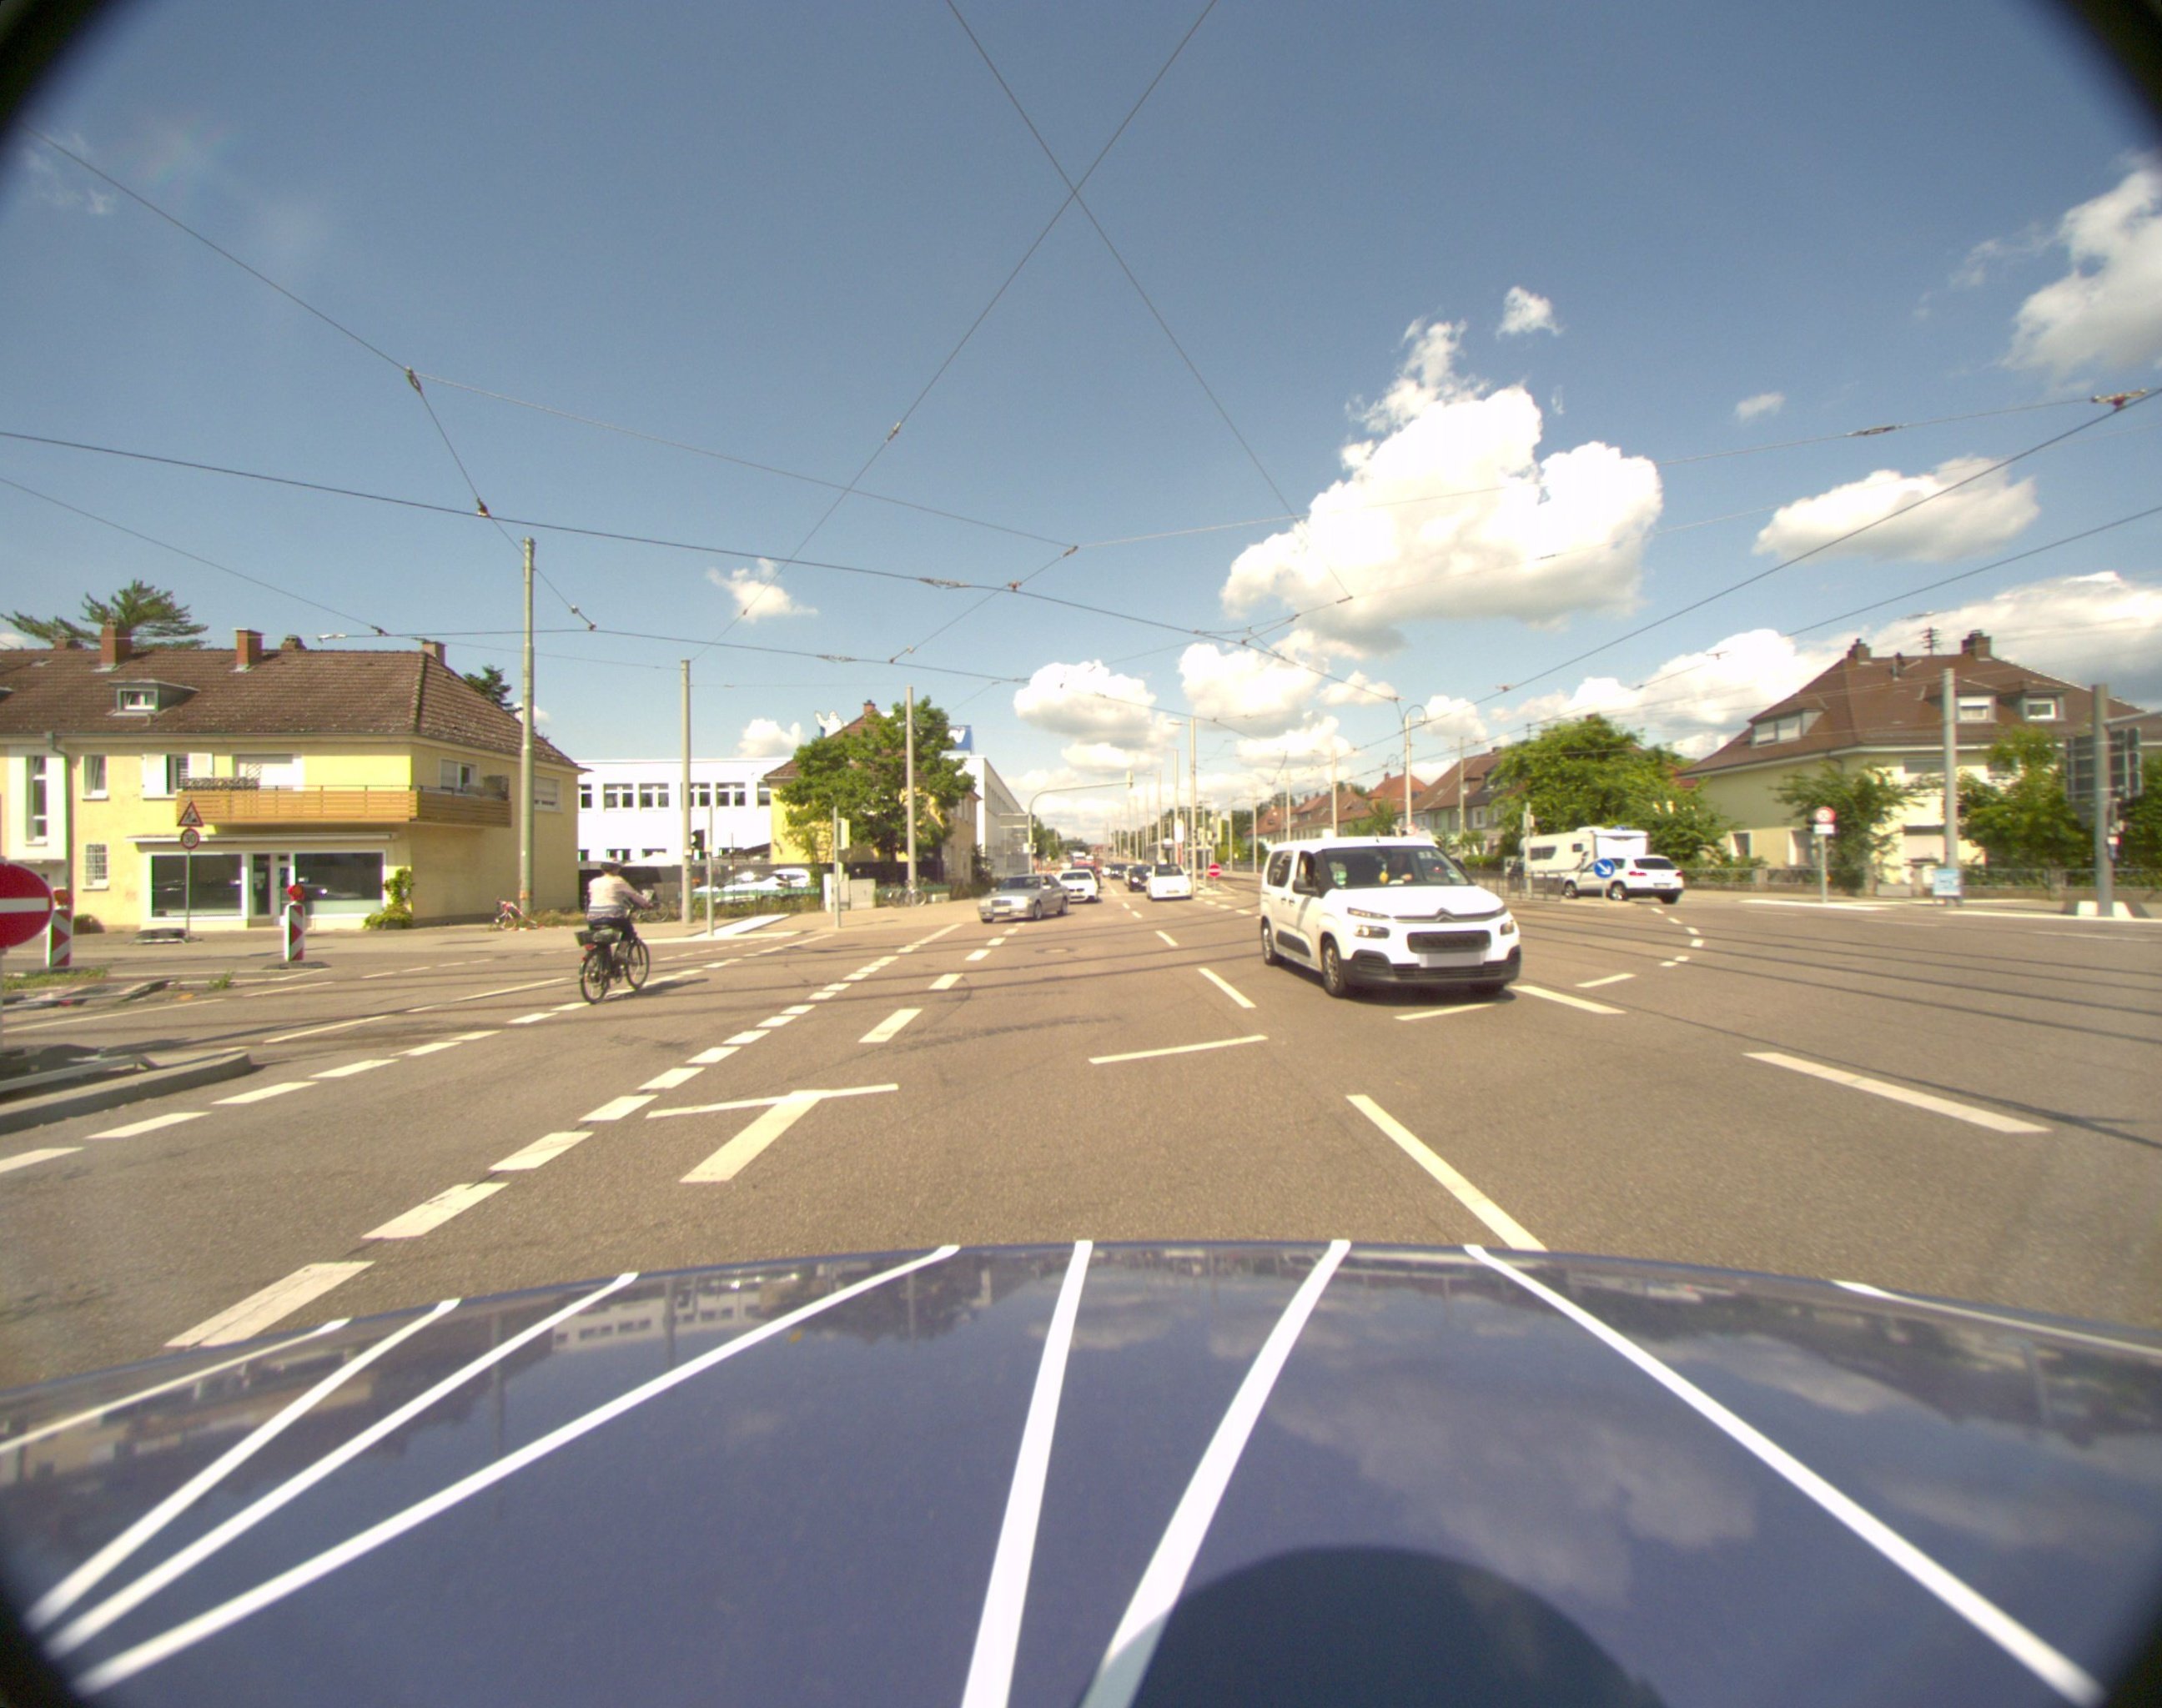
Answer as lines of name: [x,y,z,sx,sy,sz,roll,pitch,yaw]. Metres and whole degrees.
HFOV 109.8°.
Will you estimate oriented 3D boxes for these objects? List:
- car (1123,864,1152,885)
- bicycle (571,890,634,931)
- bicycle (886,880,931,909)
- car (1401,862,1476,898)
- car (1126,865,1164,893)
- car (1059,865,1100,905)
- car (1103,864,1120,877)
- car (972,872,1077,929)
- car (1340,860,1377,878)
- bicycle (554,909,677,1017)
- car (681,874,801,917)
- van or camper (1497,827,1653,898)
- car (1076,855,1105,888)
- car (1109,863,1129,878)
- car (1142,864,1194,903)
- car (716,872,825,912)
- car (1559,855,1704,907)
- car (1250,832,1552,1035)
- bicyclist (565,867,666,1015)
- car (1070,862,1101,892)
car: [4.182,1.495,56.503,1.698,1.350,4.498,-2,0,-1]
bicycle: [-14.748,1.725,23.471,1.576,1.131,0.380,-3,1,-27]
bicycle: [-6.819,1.590,30.121,0.462,1.012,1.759,-2,1,41]
car: [19.104,1.327,40.862,1.998,1.766,4.880,1,0,3]
car: [3.639,1.401,43.629,1.680,1.414,3.558,-2,0,-2]
car: [-0.092,1.296,33.420,1.664,1.564,4.000,-2,0,-1]
car: [3.598,1.935,89.474,1.698,1.350,4.498,-2,0,-1]
car: [-1.623,1.369,23.569,1.723,1.389,4.468,-2,0,17]
car: [22.897,1.230,62.794,1.688,1.344,4.346,-2,0,3]
bicycle: [-5.840,1.330,9.637,0.652,1.111,1.587,-2,0,-6]
car: [-13.948,1.678,31.355,4.118,1.587,1.800,-1,-1,-5]
van or camper: [22.591,0.317,35.383,2.330,2.913,7.754,0,1,1]
car: [0.621,1.213,54.106,1.787,2.134,5.169,-2,0,-1]
car: [3.794,1.631,76.741,1.698,1.350,4.498,-2,0,-1]
car: [3.690,1.213,32.682,1.680,1.495,3.393,-2,0,-2]
car: [-13.819,1.665,33.964,4.118,1.587,1.800,-1,-1,-5]
car: [18.943,0.865,26.412,1.998,1.543,4.178,2,0,1]
car: [3.440,0.756,9.189,1.799,1.804,4.330,-2,0,0]
bicyclist: [-5.846,1.055,9.597,0.652,1.727,0.984,-2,1,-6]
car: [0.224,1.266,43.897,1.664,1.529,3.999,-2,0,-1]
